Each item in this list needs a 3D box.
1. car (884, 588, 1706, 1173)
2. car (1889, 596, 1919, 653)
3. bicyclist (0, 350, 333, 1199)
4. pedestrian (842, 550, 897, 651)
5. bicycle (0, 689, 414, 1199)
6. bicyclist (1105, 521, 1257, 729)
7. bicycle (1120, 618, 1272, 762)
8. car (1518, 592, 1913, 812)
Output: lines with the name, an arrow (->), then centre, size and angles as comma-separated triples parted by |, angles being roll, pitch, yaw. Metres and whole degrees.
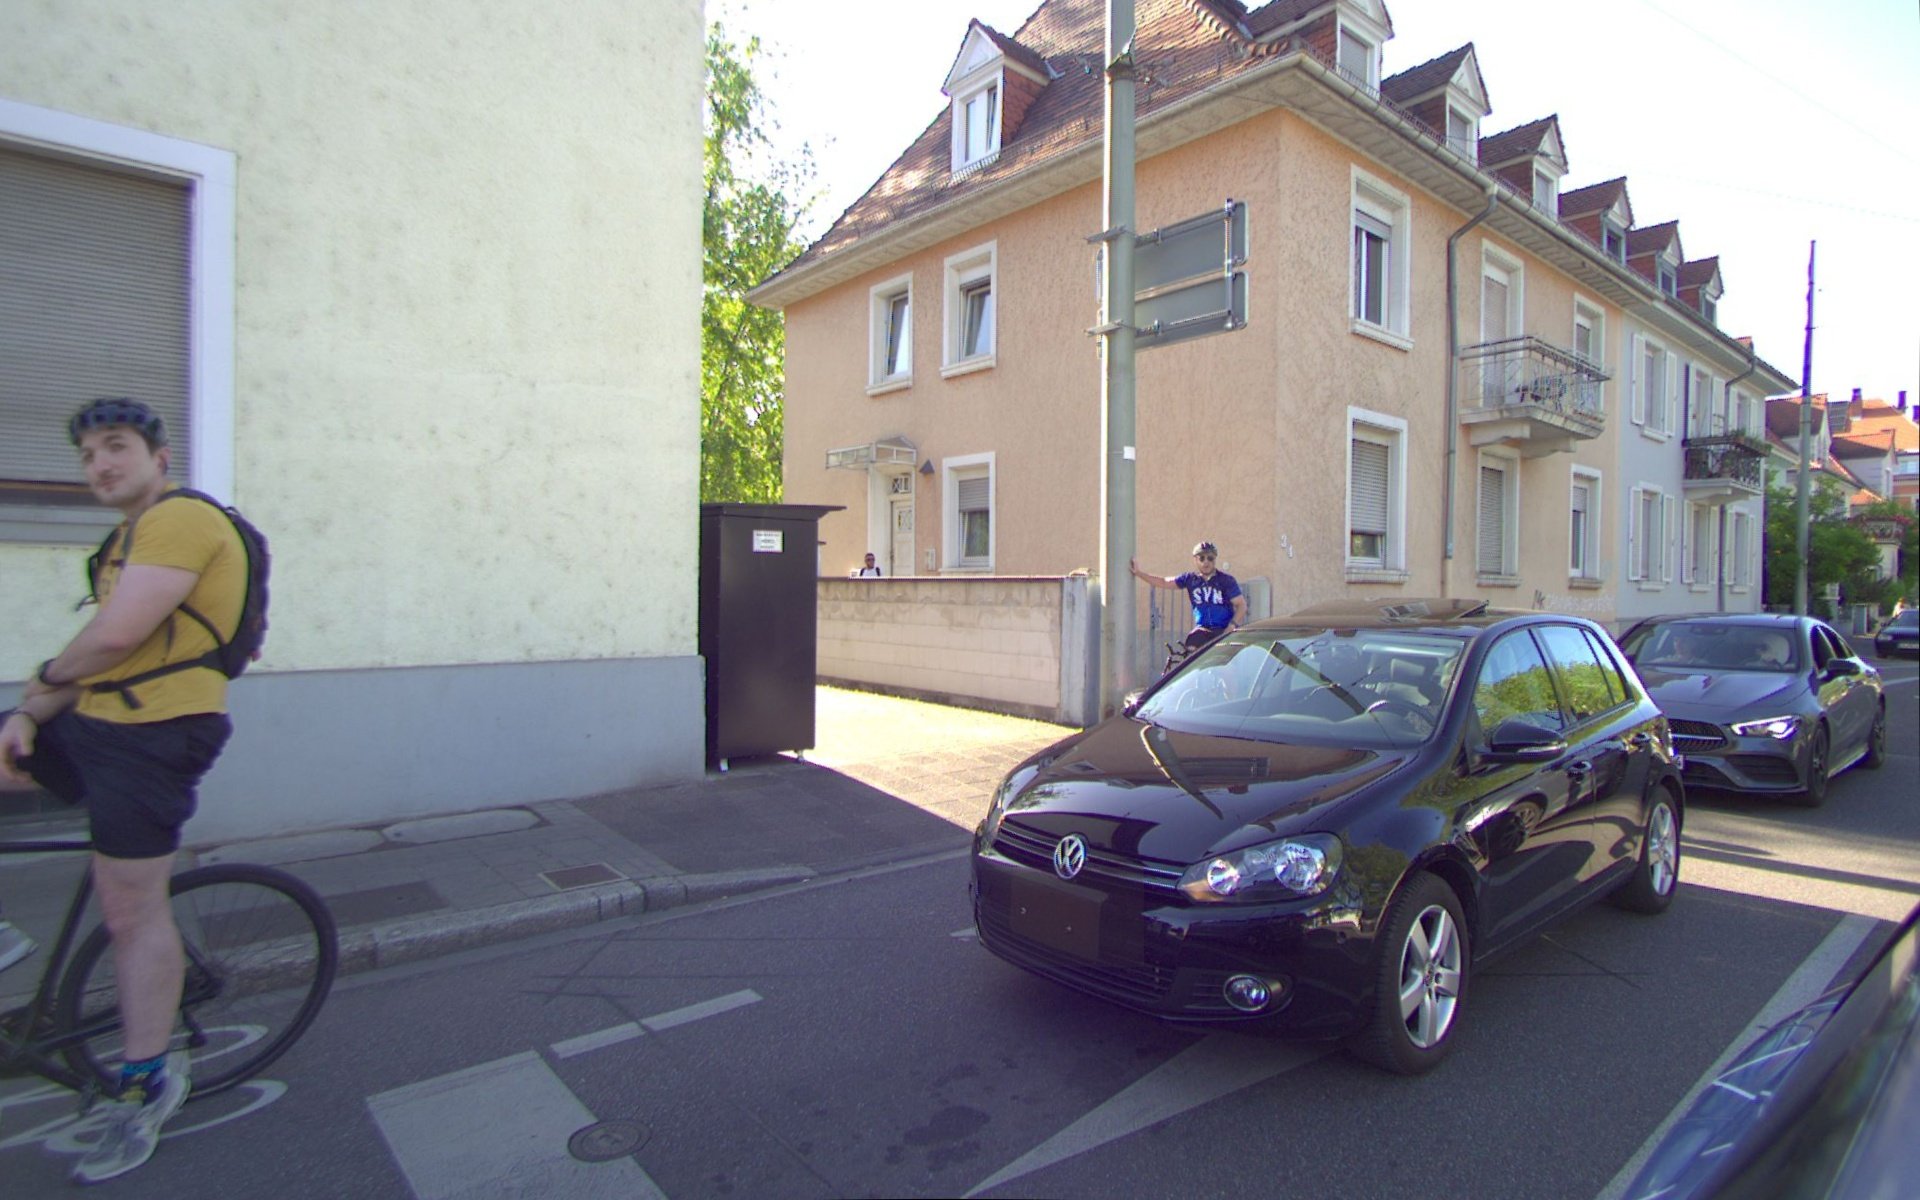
car -> 1.742, 0.687, 4.487 | 3.921, 1.456, 1.716 | -1, 0, -41
car -> 26.765, 0.624, 27.441 | 4.258, 1.448, 1.824 | -1, 0, -40
bicyclist -> -2.308, 0.428, 2.764 | 0.777, 1.991, 0.768 | 0, 0, 36
pedestrian -> -1.530, -0.001, 17.087 | 0.598, 1.624, 0.763 | 2, 5, -26
bicycle -> -2.452, 0.871, 2.563 | 0.777, 1.120, 1.720 | 0, 0, 36
bicyclist -> 1.987, 0.186, 9.126 | 1.018, 1.714, 0.718 | 6, 4, 42
bicycle -> 2.126, 0.746, 9.001 | 0.554, 1.088, 1.601 | 6, 4, 42
car -> 6.730, 0.696, 8.825 | 4.410, 1.449, 1.824 | 1, 0, -40
